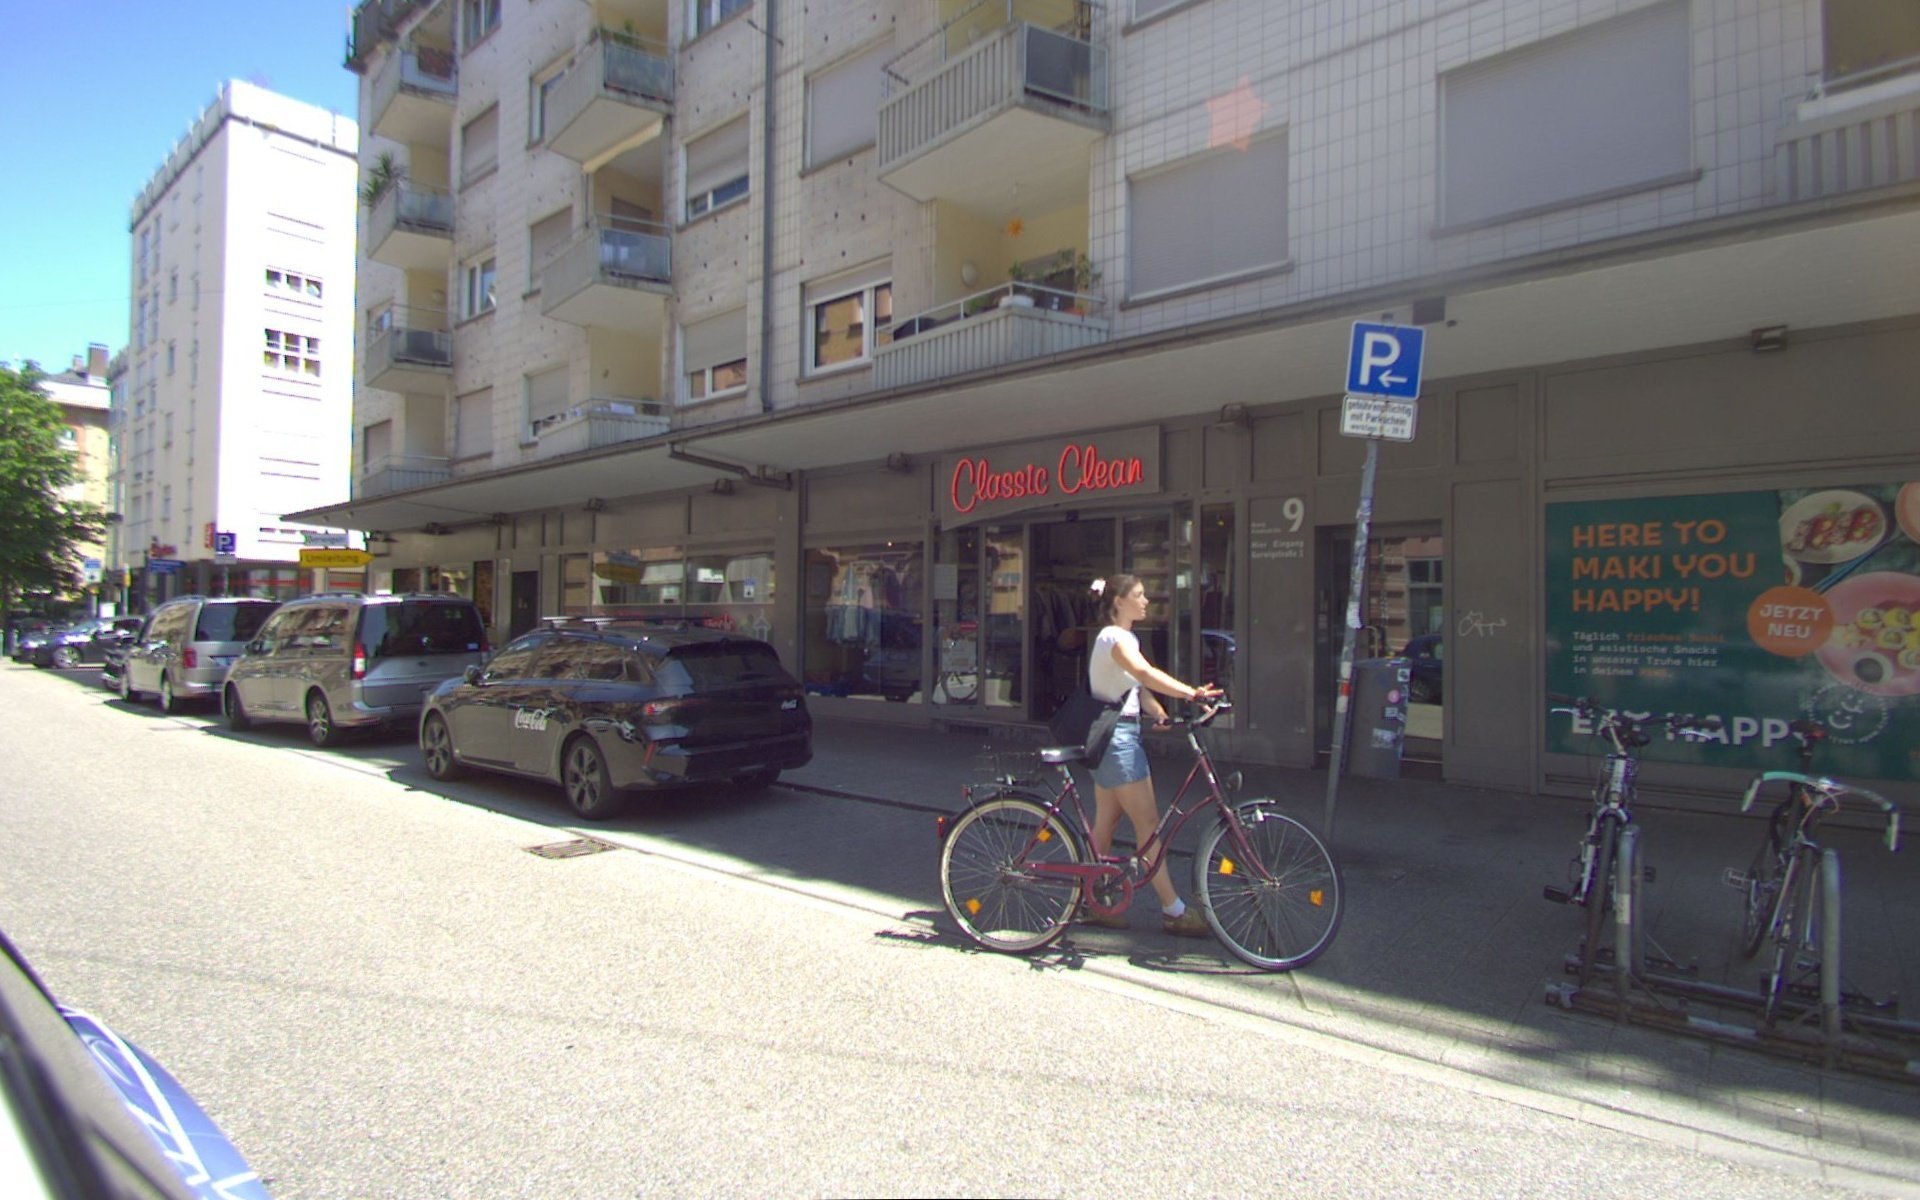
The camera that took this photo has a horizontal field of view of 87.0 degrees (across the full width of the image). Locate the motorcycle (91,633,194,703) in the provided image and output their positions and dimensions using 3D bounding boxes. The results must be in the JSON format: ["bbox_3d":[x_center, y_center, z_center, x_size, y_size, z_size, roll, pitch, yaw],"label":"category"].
[{"bbox_3d":[-15.980,1.318,19.818,1.530,1.293,0.394,0,0,-17],"label":"motorcycle"}]

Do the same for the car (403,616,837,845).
[{"bbox_3d":[-3.199,0.937,8.983,4.462,1.536,1.652,-1,-1,41],"label":"car"}]

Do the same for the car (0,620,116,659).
[{"bbox_3d":[-37.721,1.631,42.034,1.651,1.541,3.836,-1,-3,40],"label":"car"}]

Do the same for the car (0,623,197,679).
[{"bbox_3d":[-23.705,1.363,27.904,1.809,1.436,3.848,-1,-2,32],"label":"car"}]

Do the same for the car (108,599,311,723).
[{"bbox_3d":[-12.917,0.953,17.302,4.897,1.843,1.770,-1,-1,41],"label":"car"}]

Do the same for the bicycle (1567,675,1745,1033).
[{"bbox_3d":[3.044,0.967,4.409,0.526,1.148,1.569,-1,0,36],"label":"bicycle"}]

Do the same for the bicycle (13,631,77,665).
[{"bbox_3d":[-30.586,1.592,33.841,1.586,1.099,0.371,0,-1,-44],"label":"bicycle"}]

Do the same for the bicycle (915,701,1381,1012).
[{"bbox_3d":[0.802,1.048,4.505,1.924,1.100,0.601,0,-2,19],"label":"bicycle"}]

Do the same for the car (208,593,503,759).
[{"bbox_3d":[-8.030,0.882,13.264,4.692,1.825,1.771,-1,-1,38],"label":"car"}]

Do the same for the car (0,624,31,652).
[{"bbox_3d":[-52.002,2.020,53.651,1.651,1.507,3.836,-1,-2,40],"label":"car"}]

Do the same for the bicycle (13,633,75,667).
[{"bbox_3d":[-31.435,1.709,34.740,1.586,1.099,0.371,0,-1,-44],"label":"bicycle"}]

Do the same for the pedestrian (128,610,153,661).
[{"bbox_3d":[-34.505,1.484,42.601,0.599,2.141,0.496,1,-2,-14],"label":"pedestrian"}]

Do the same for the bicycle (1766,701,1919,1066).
[{"bbox_3d":[3.466,0.994,3.971,0.397,1.038,1.480,-1,0,36],"label":"bicycle"}]

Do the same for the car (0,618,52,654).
[{"bbox_3d":[-47.673,1.796,50.099,1.651,1.760,3.836,-1,-3,40],"label":"car"}]

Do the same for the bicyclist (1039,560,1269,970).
[{"bbox_3d":[0.918,0.705,4.736,0.971,1.719,0.621,-1,-2,20],"label":"bicyclist"}]
